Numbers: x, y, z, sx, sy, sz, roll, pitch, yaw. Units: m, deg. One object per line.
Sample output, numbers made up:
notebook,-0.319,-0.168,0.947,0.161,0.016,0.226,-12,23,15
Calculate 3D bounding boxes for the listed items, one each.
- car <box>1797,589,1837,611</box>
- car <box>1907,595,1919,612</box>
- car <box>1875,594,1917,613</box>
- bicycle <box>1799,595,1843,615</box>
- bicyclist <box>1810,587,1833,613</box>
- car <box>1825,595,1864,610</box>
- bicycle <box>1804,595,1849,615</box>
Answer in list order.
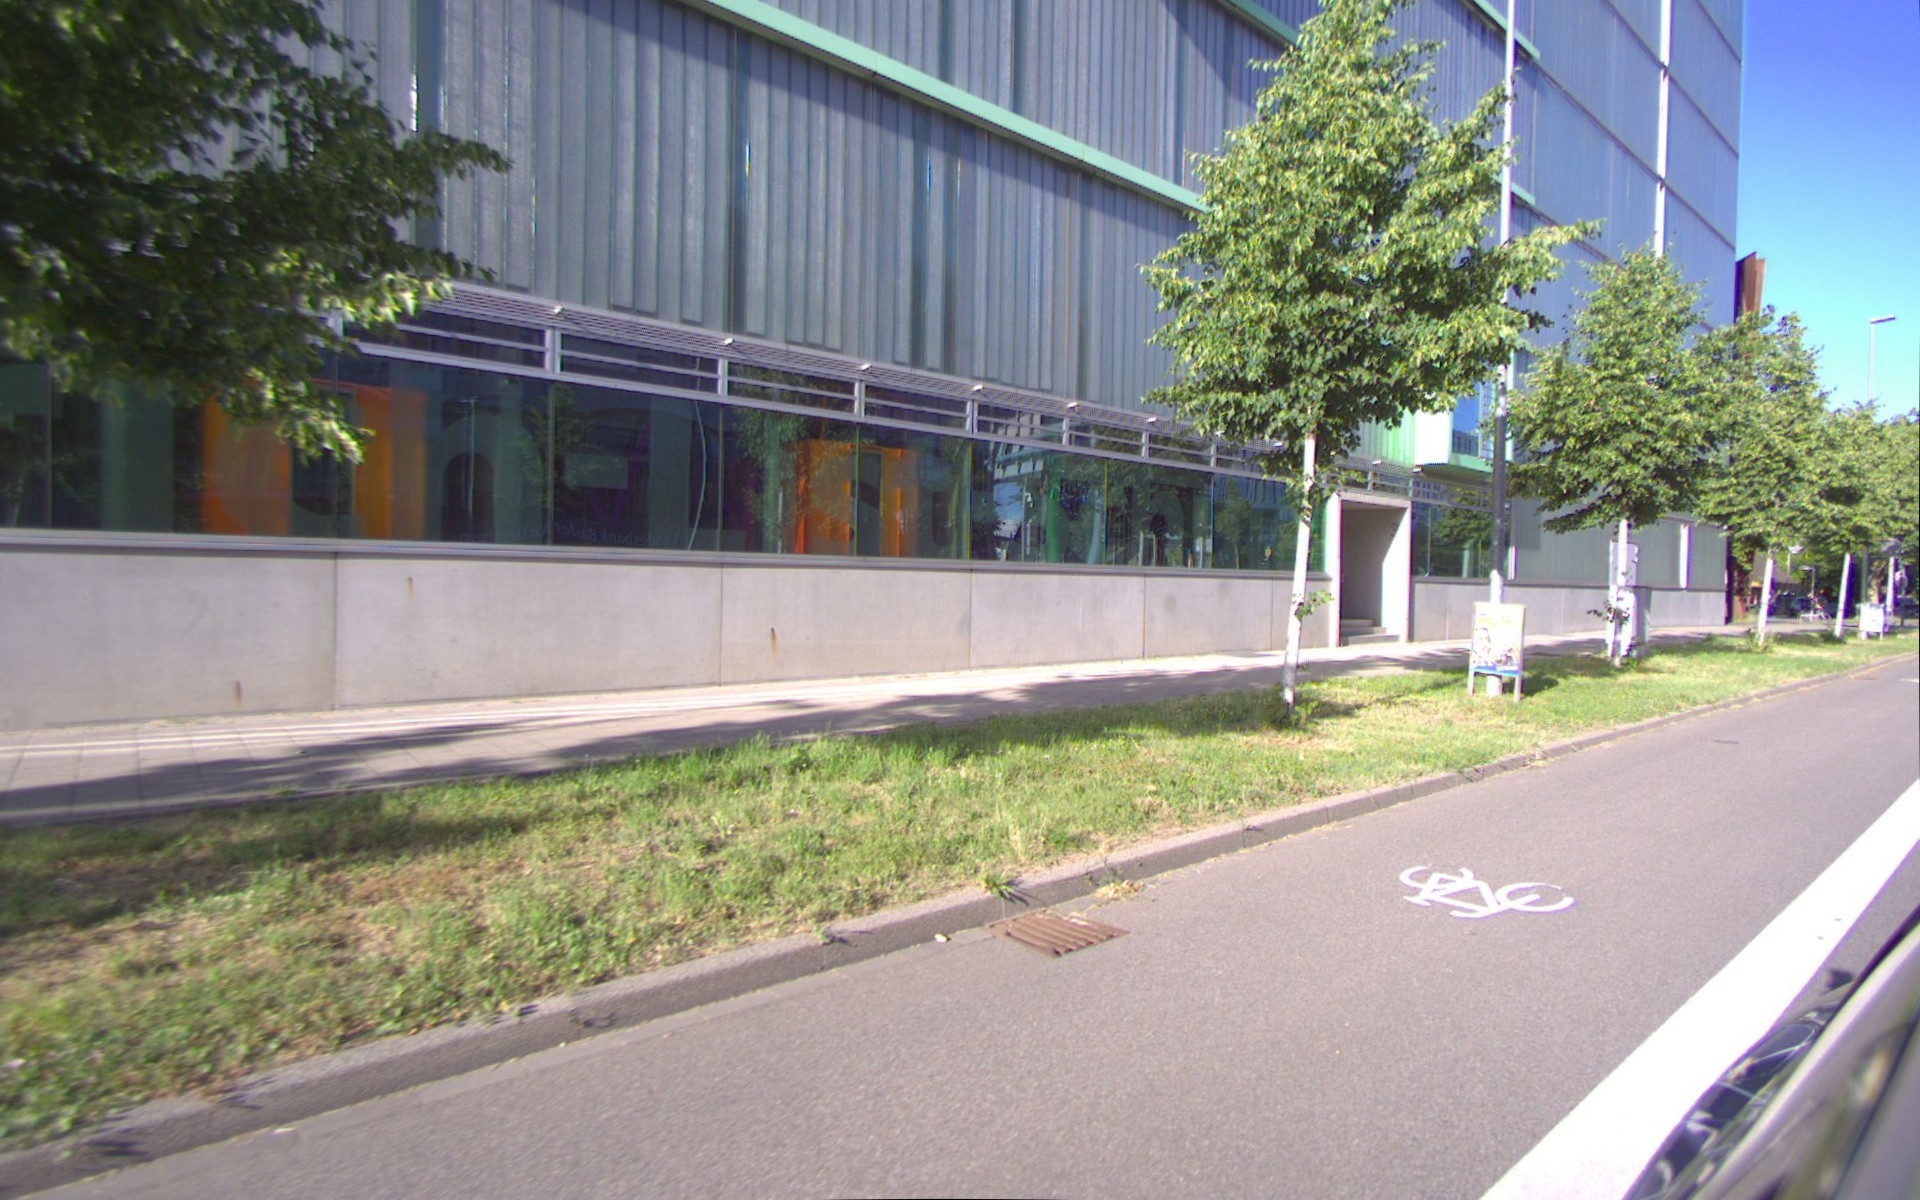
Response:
car,84.013,-0.045,99.186,4.978,2.061,1.899,0,3,-38
car,87.984,0.311,92.079,4.264,1.507,1.900,0,1,-36
car,77.356,0.296,83.635,3.962,1.483,1.899,0,1,-37
bicycle,55.598,0.306,65.354,0.540,1.218,2.108,1,1,-25
bicyclist,55.605,-0.010,65.318,0.777,1.674,0.878,1,1,-28
car,91.709,0.196,104.915,4.820,1.504,1.900,0,1,-35
bicycle,56.370,0.307,65.859,0.540,1.218,2.107,1,1,-28
